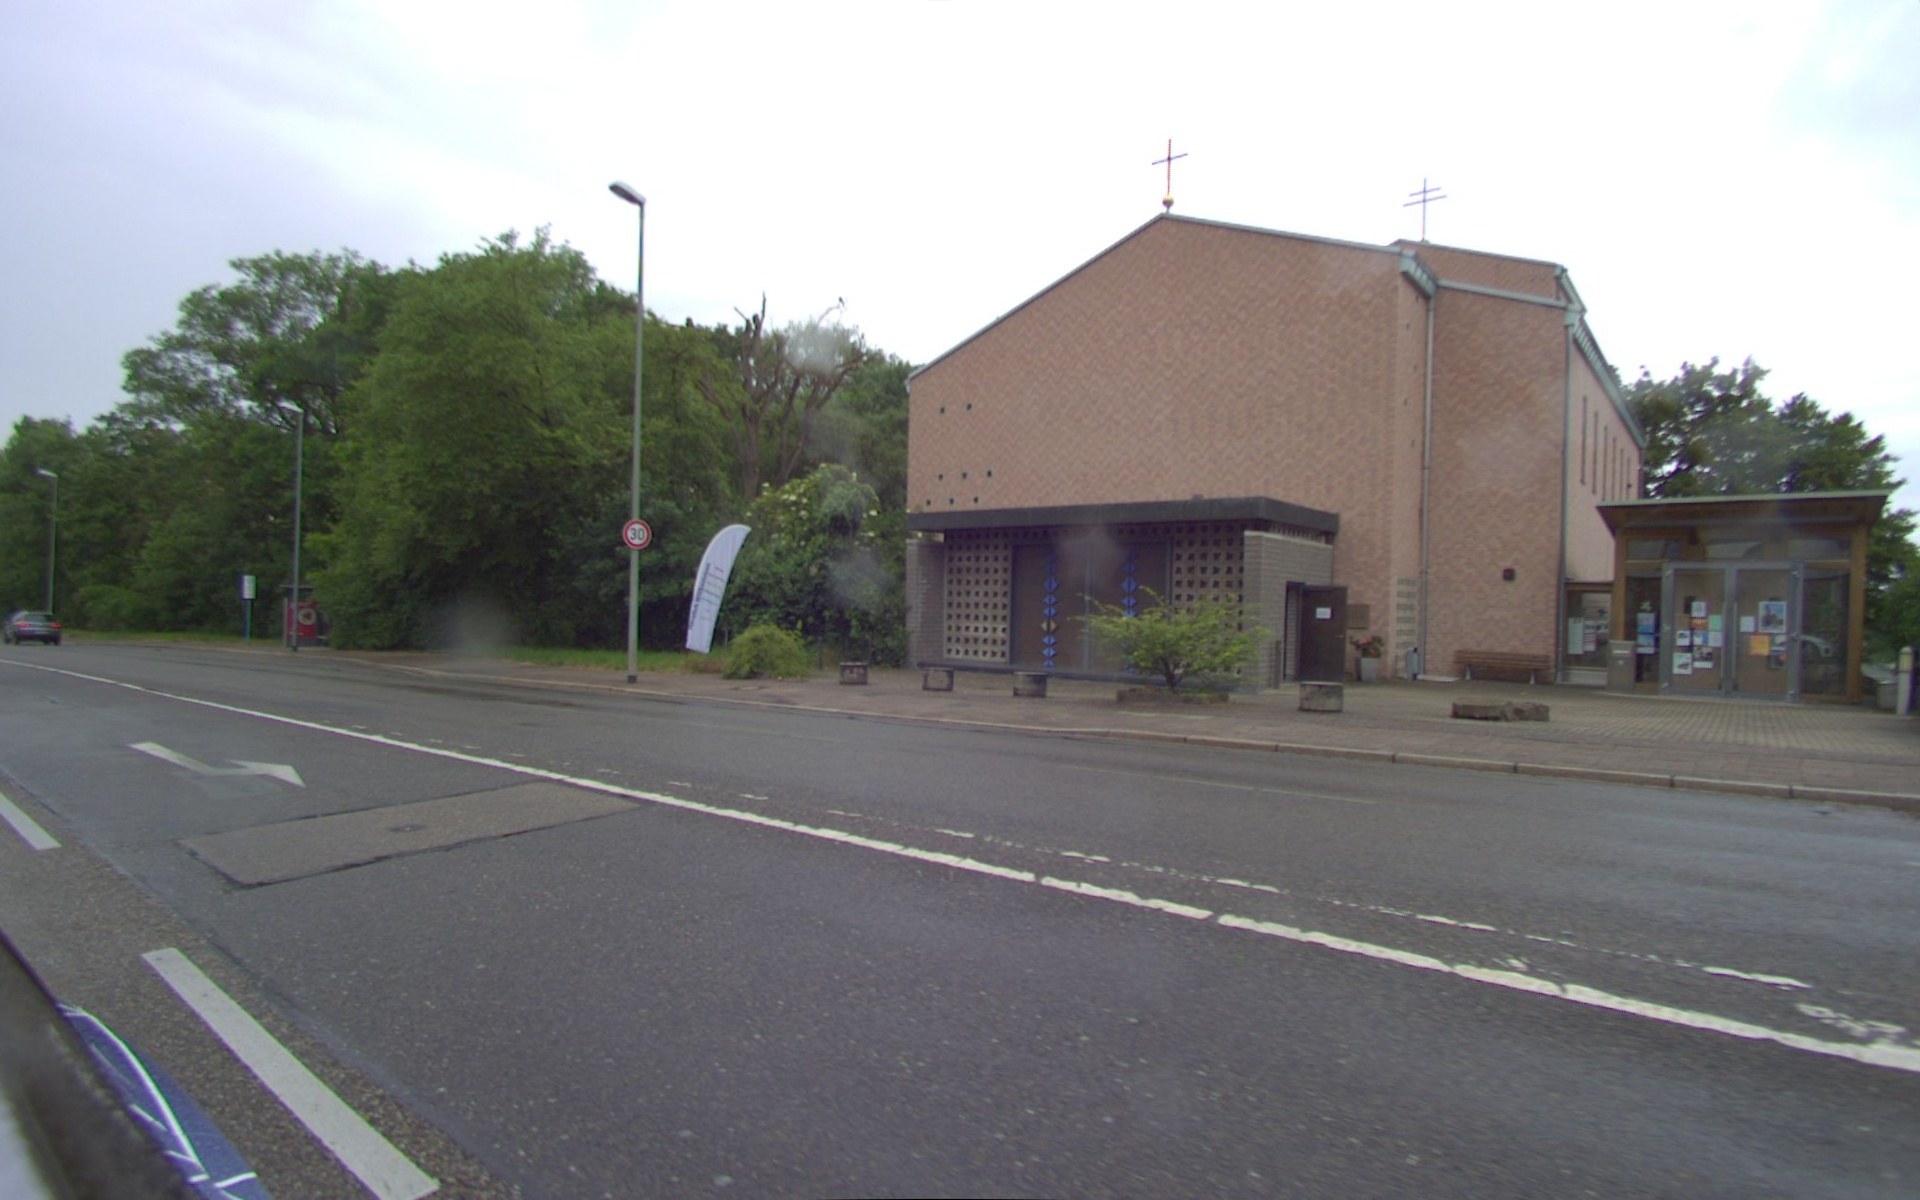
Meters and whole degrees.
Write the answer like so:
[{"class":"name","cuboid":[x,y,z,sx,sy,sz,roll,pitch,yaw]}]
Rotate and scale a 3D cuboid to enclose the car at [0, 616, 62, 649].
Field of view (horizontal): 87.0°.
[{"class":"car","cuboid":[-47.378,1.631,51.427,4.312,1.603,1.890,-1,-2,38]}]
